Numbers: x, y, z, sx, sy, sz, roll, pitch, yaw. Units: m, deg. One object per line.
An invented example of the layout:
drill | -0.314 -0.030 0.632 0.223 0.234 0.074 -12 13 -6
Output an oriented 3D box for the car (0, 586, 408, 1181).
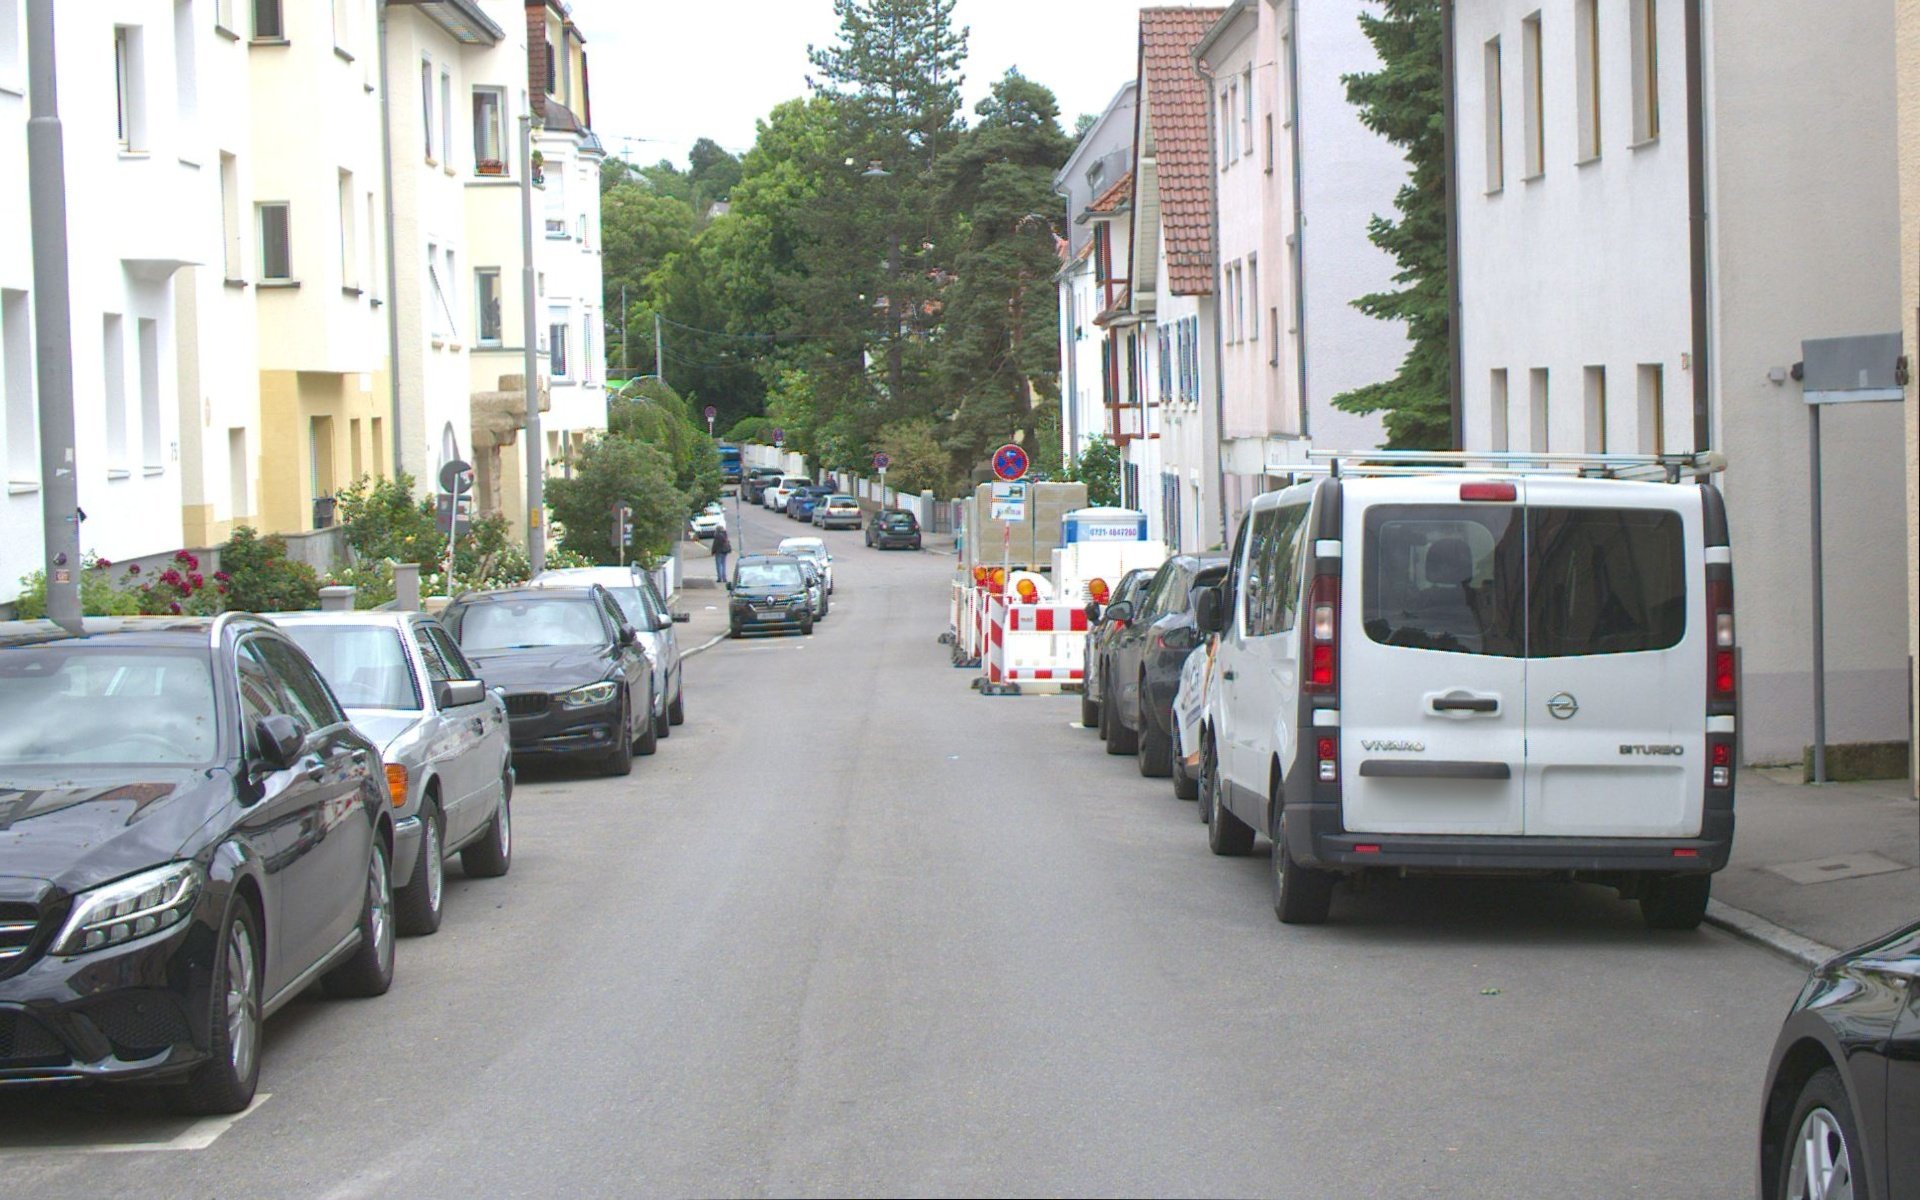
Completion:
car | -2.998 0.747 11.096 1.895 1.522 4.471 -2 0 -3

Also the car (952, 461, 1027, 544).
car | 0.855 -2.916 101.784 1.980 2.354 4.278 -1 2 -2

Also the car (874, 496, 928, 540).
car | -2.285 -3.153 132.220 1.634 1.478 3.532 0 5 -9

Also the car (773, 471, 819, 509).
car | -7.395 -4.948 154.700 1.634 1.532 3.532 -1 5 -10

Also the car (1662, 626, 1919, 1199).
car | 2.485 0.806 4.908 1.852 1.398 4.576 0 1 -2

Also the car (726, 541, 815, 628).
car | -4.253 -0.376 76.730 1.844 1.809 4.545 -2 1 -4

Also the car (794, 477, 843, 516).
car | -6.131 -4.478 148.449 1.634 1.478 3.532 -1 5 -10

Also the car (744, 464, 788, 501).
car | -9.063 -5.490 160.260 1.634 1.532 3.532 -1 5 -10

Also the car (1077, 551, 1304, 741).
car | 2.004 0.358 30.899 1.715 1.560 4.073 0 1 -1

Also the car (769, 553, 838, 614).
car | -3.957 -0.446 87.324 1.642 1.412 3.984 -2 1 -2

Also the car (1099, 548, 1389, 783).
car | 2.052 0.420 25.984 1.713 1.591 4.499 0 1 -1

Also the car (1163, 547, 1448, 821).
car | 2.110 0.471 21.596 1.487 1.591 2.791 0 1 0

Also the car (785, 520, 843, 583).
car | -4.461 -1.510 105.480 1.672 1.651 3.864 -2 4 -2

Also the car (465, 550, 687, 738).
car | -3.648 0.366 33.301 1.844 1.625 4.287 -2 1 -3

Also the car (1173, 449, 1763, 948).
car | 2.238 0.336 16.819 1.905 2.023 5.733 0 1 -1

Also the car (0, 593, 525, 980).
car | -3.202 0.745 16.353 1.844 1.408 5.062 -2 1 -3

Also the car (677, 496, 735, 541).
car | -10.449 -3.356 141.284 1.672 1.651 3.865 -3 4 -14

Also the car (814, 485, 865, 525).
car | -5.066 -3.969 143.911 1.634 1.478 3.532 -1 5 -10

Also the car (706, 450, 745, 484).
car | -11.936 -6.765 174.693 1.634 1.532 3.532 -1 5 -10

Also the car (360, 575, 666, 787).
car | -3.432 0.573 27.177 1.845 1.452 4.505 -2 1 -1
